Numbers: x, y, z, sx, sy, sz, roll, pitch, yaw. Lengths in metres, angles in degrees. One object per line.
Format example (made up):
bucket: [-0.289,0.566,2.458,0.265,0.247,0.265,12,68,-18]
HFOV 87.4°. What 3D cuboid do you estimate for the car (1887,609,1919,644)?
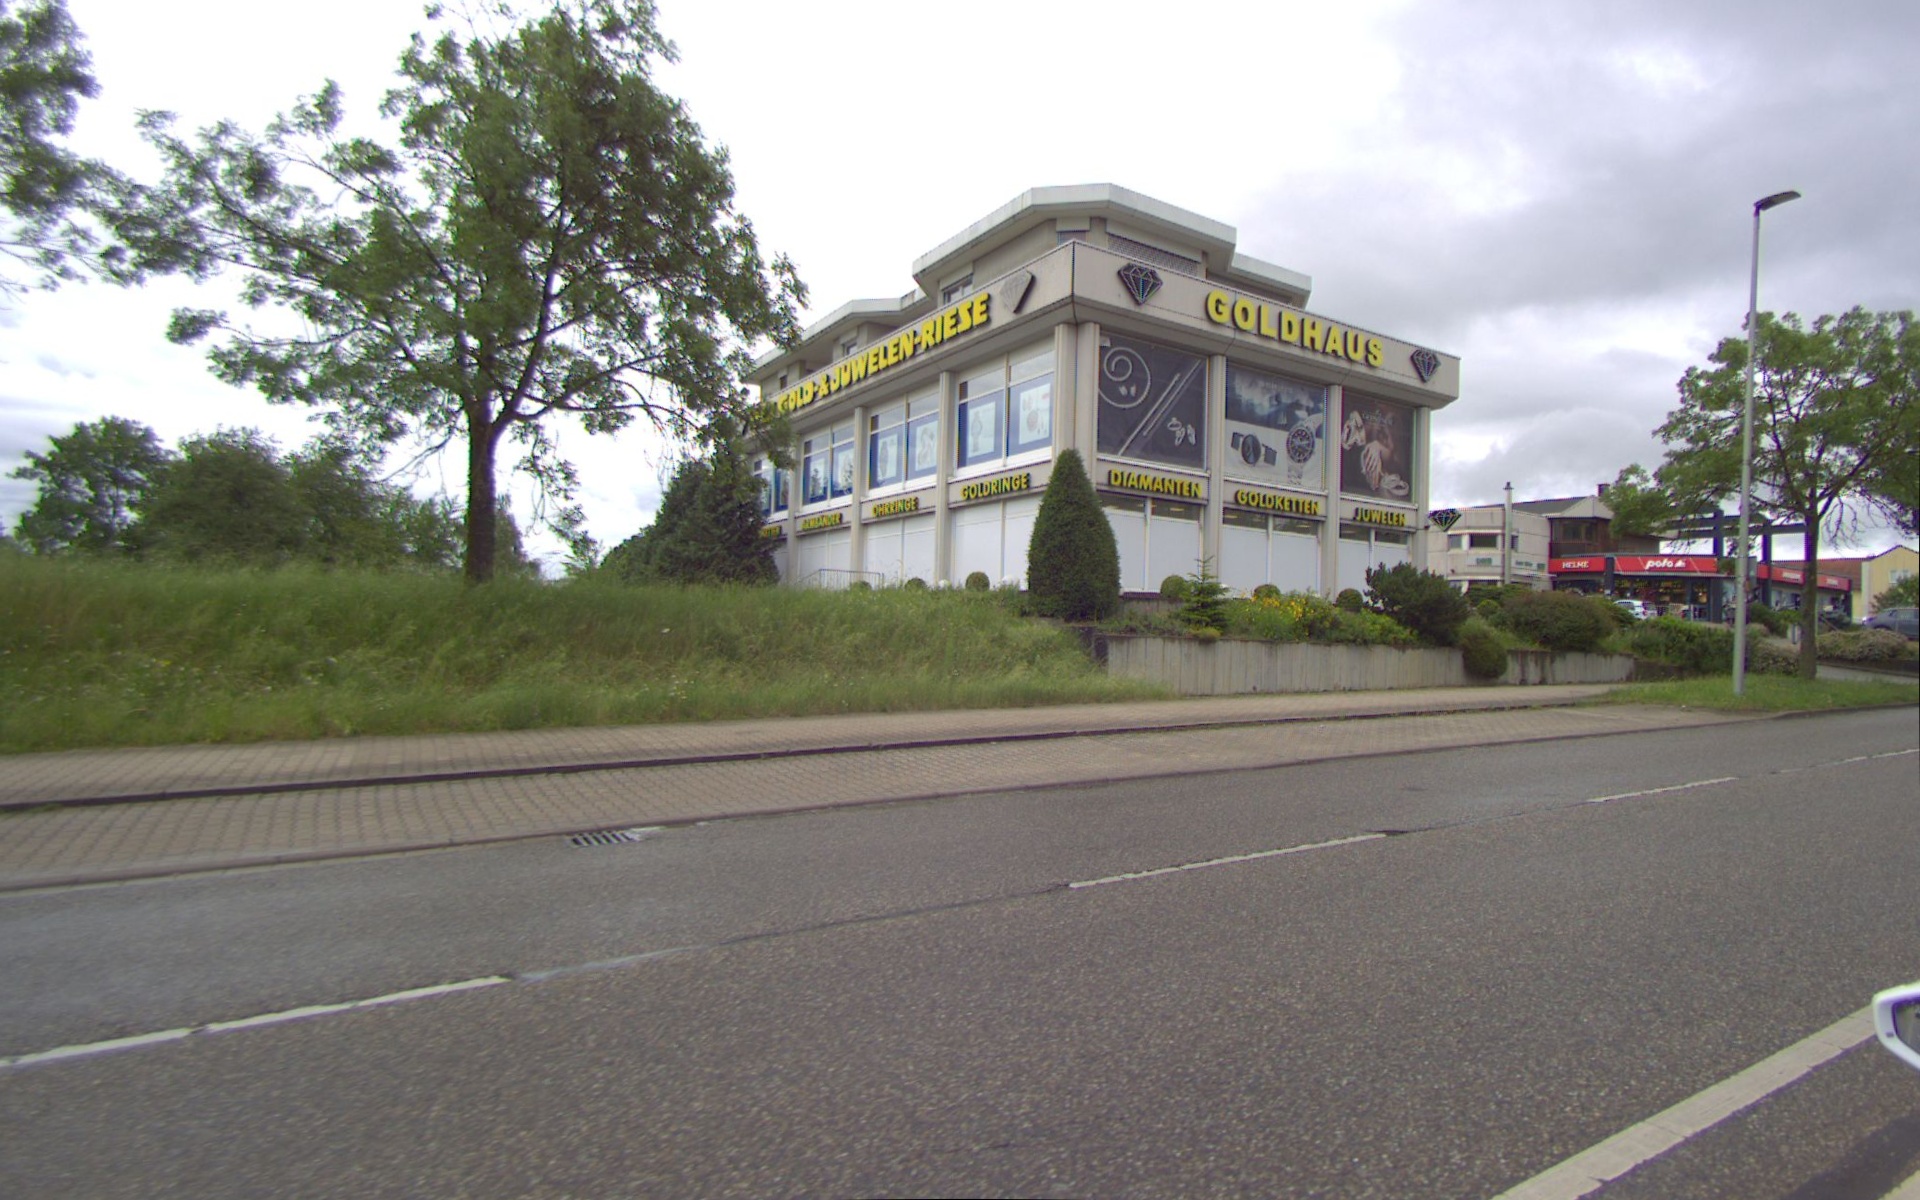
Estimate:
car: [43.516,1.202,44.420,1.564,1.529,3.398,2,-2,-31]

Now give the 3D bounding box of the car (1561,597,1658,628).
car: [33.595,0.645,52.029,1.856,1.502,3.802,2,-1,-35]

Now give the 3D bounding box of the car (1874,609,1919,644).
car: [41.729,1.152,42.971,1.726,1.502,3.621,2,-2,-37]

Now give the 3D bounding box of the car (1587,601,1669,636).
car: [31.662,0.915,47.571,3.956,1.532,1.666,2,-3,-30]

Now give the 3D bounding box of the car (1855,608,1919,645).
car: [39.612,1.095,41.421,1.726,1.502,3.799,2,-2,-37]
